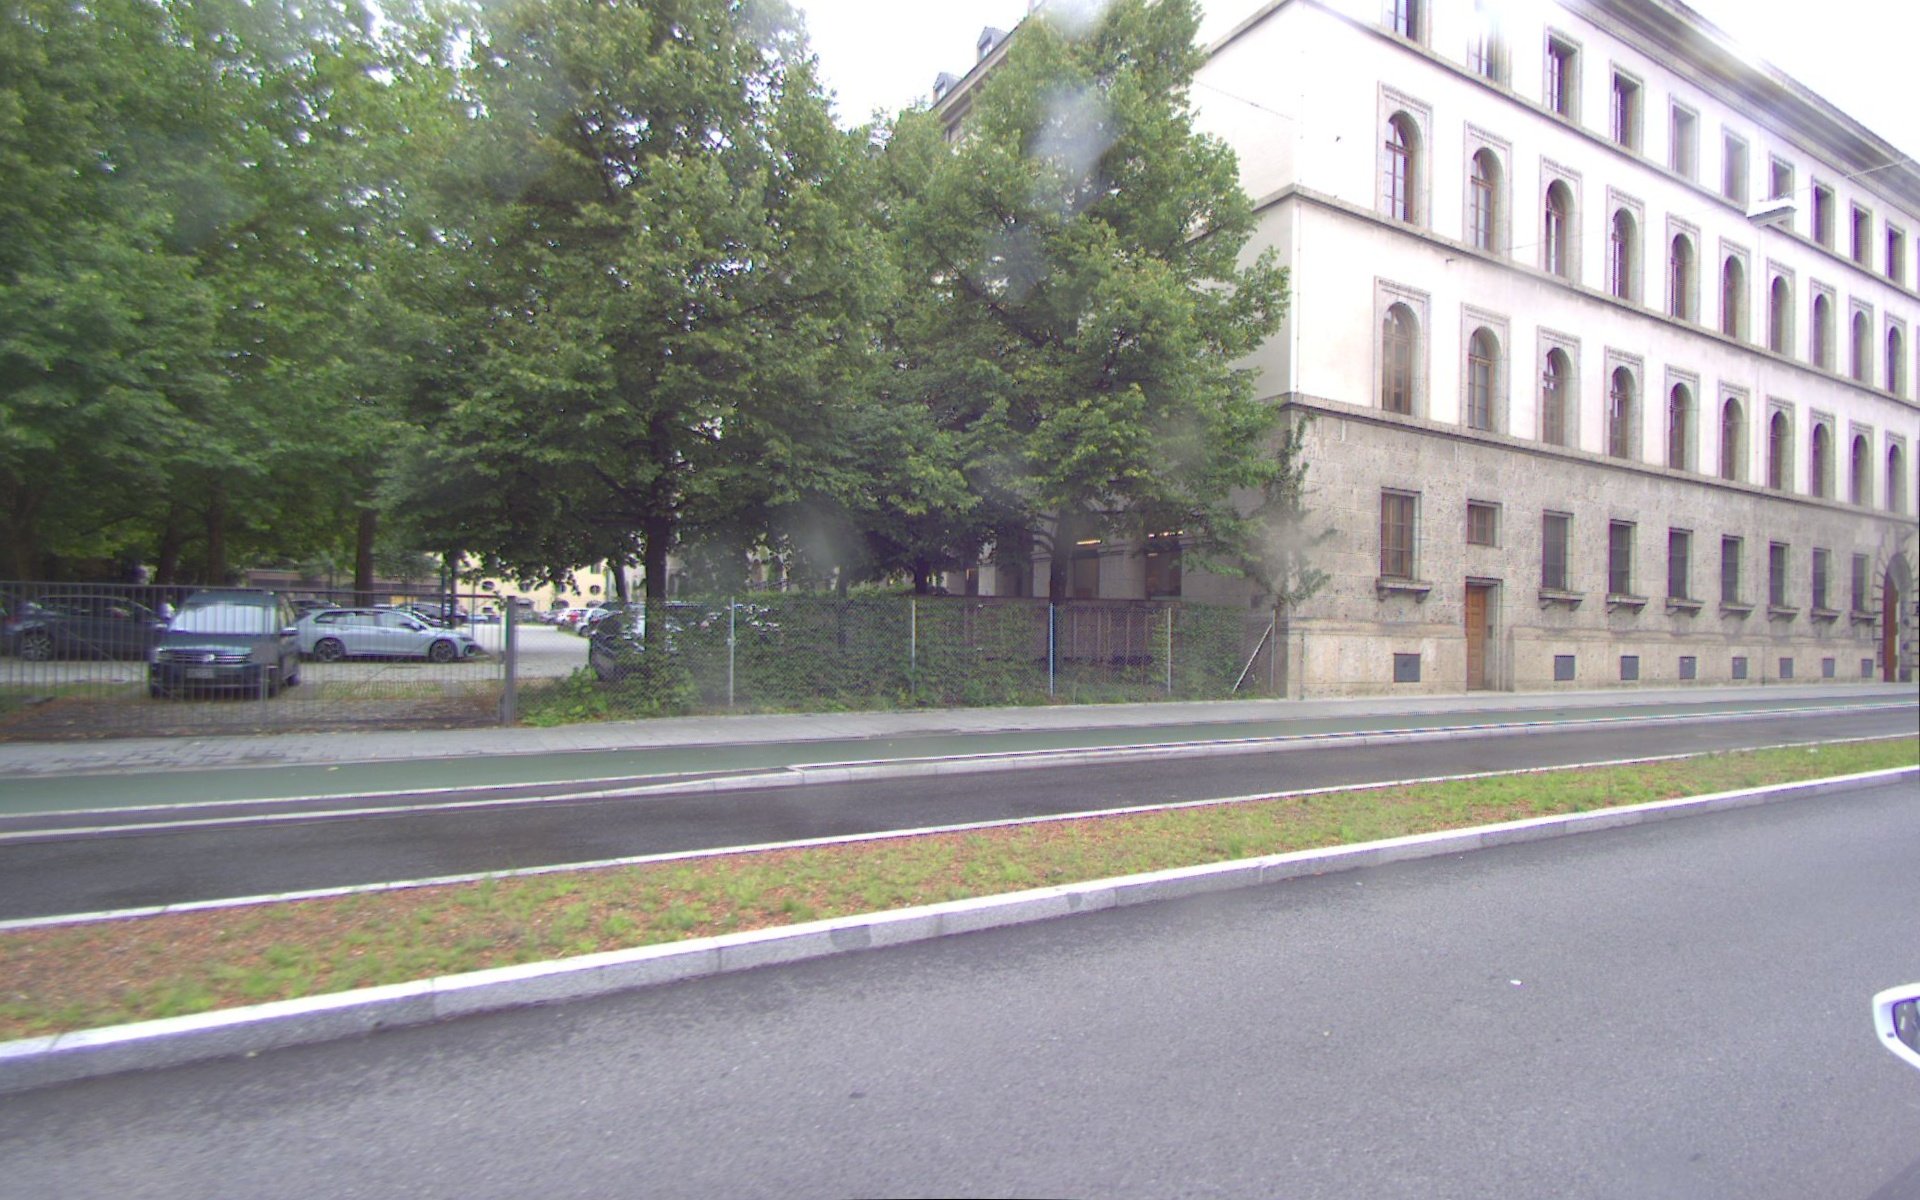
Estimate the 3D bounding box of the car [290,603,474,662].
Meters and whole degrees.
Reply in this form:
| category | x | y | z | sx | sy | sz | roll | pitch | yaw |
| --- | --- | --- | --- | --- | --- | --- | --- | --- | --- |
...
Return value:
| category | x | y | z | sx | sy | sz | roll | pitch | yaw |
| --- | --- | --- | --- | --- | --- | --- | --- | --- | --- |
| car | -15.847 | 0.896 | 27.667 | 4.215 | 1.467 | 1.982 | 2 | 0 | -32 |

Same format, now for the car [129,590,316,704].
| category | x | y | z | sx | sy | sz | roll | pitch | yaw |
| --- | --- | --- | --- | --- | --- | --- | --- | --- | --- |
| car | -12.896 | 0.750 | 17.851 | 1.851 | 1.732 | 4.014 | 4 | -1 | -26 |

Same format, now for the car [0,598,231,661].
| category | x | y | z | sx | sy | sz | roll | pitch | yaw |
| --- | --- | --- | --- | --- | --- | --- | --- | --- | --- |
| car | -20.719 | 0.726 | 24.795 | 4.215 | 1.422 | 1.982 | 2 | 0 | -32 |
